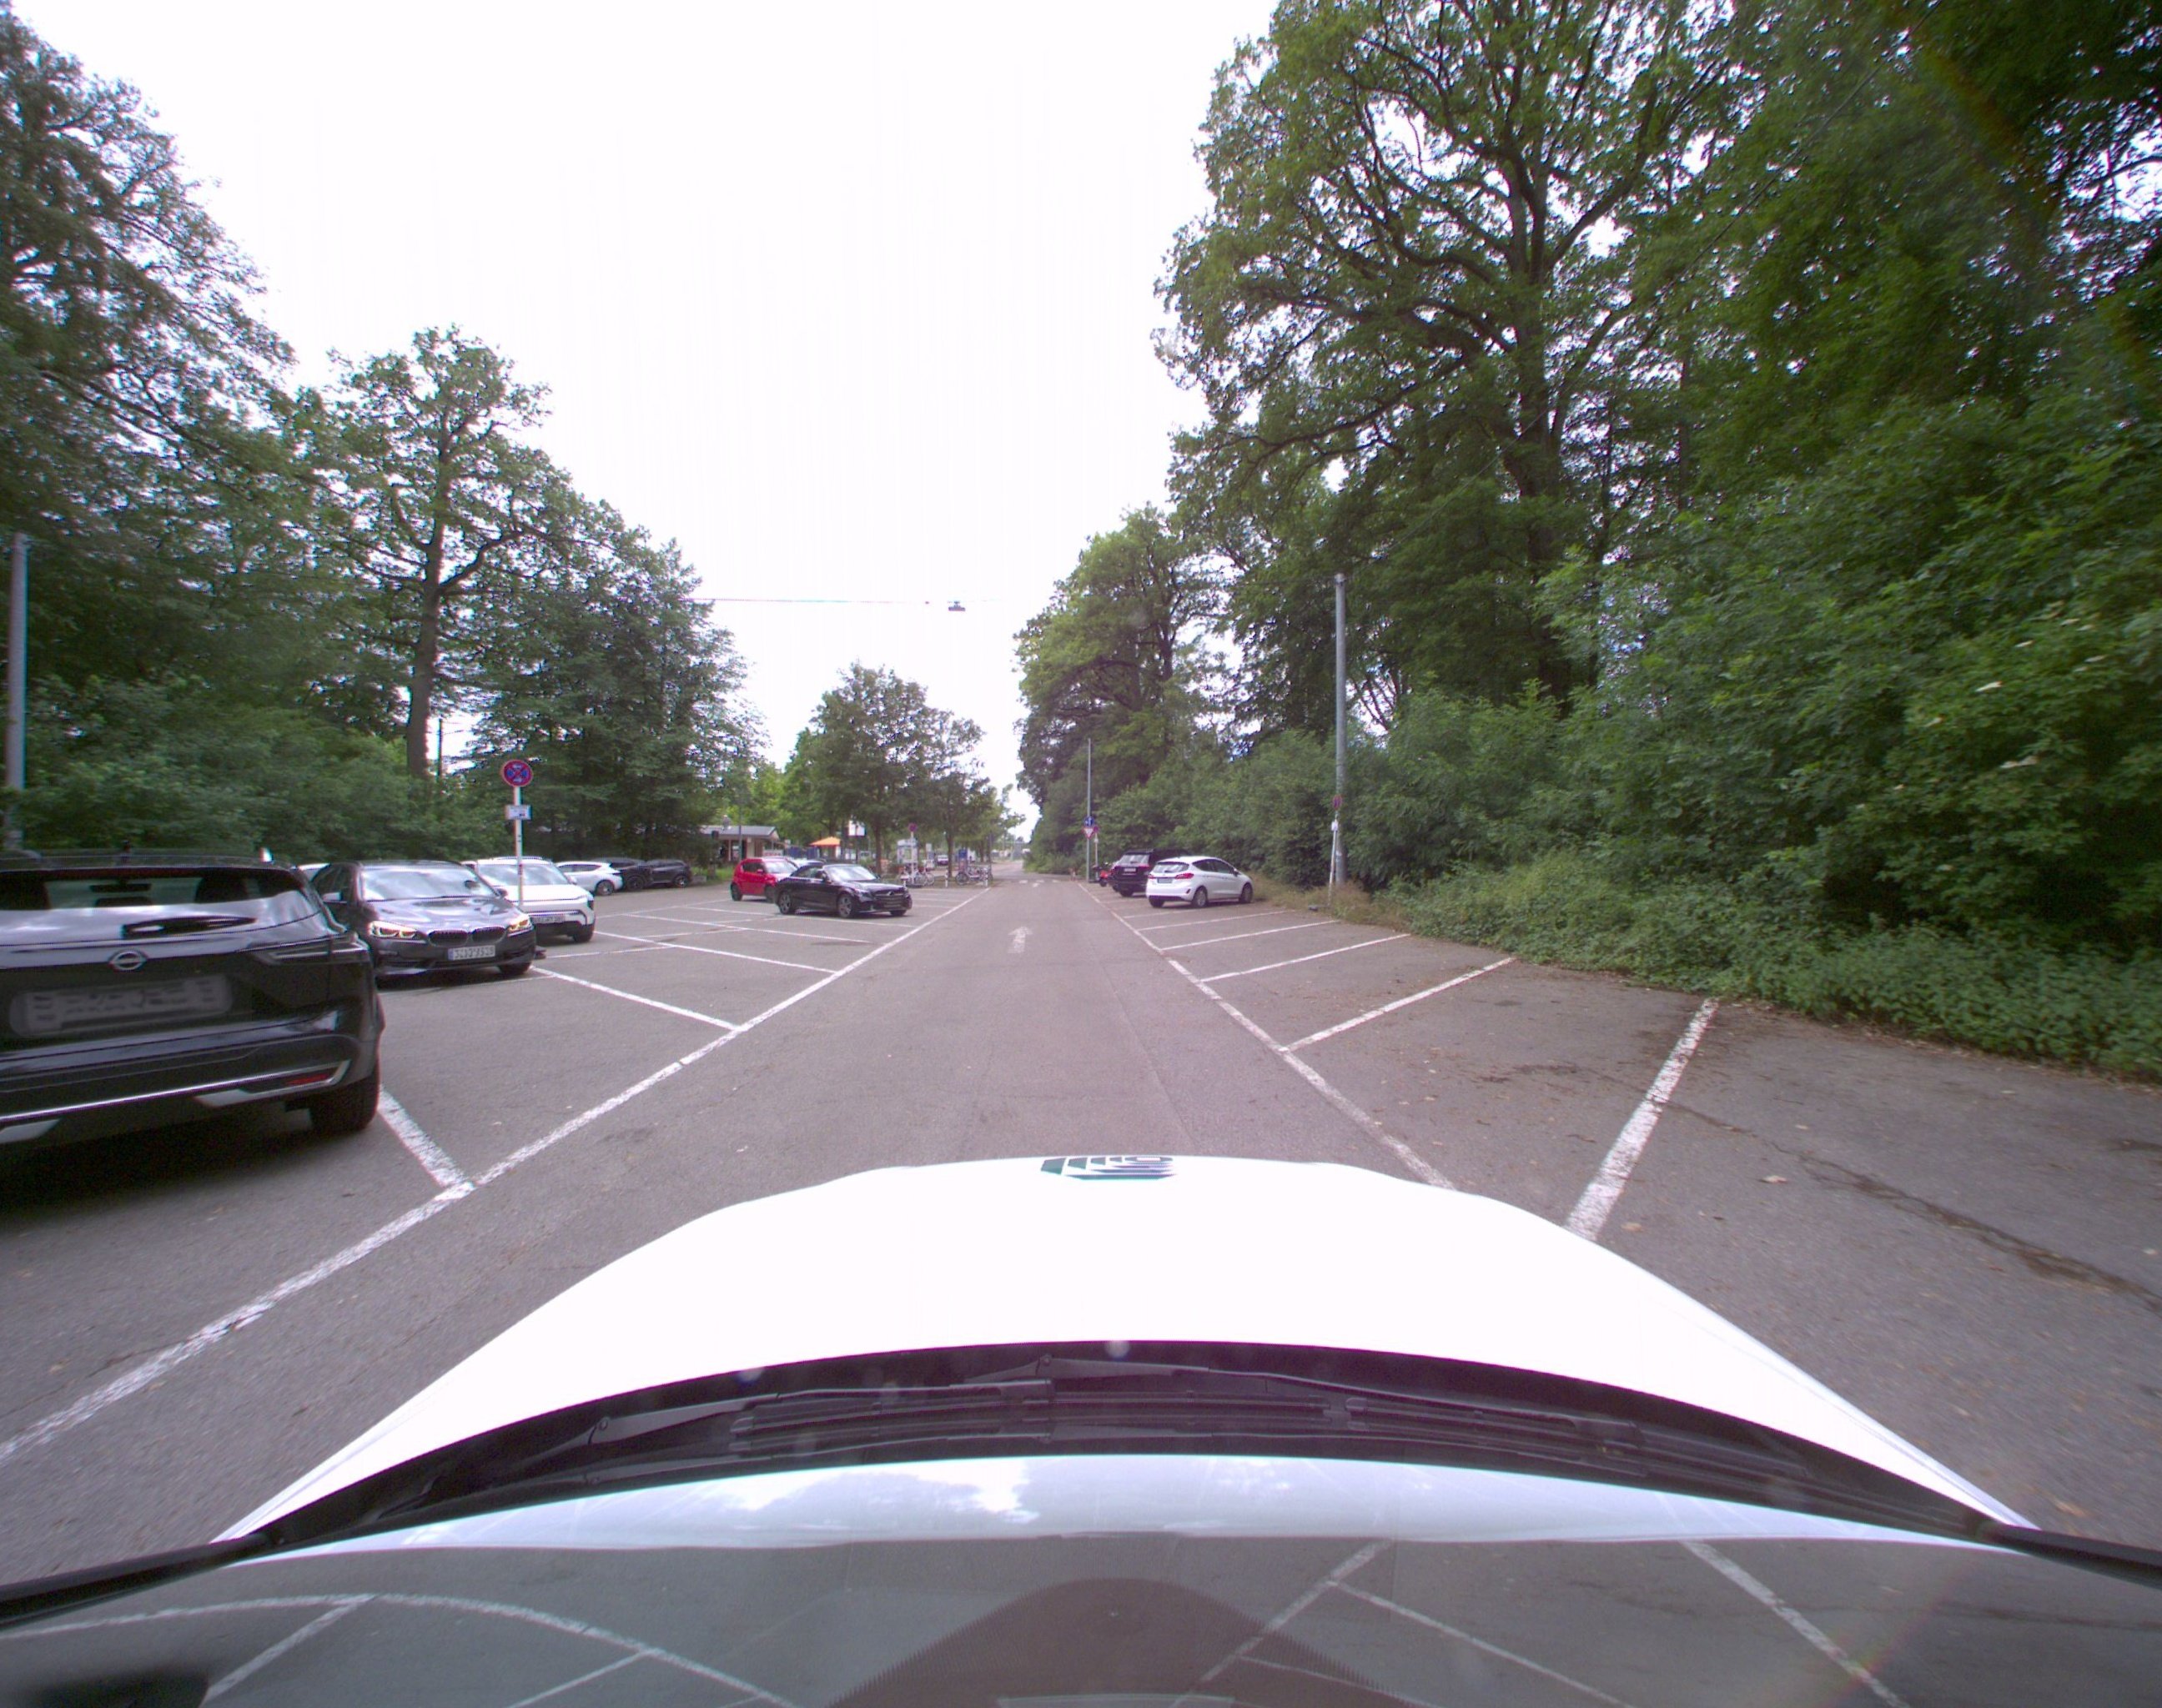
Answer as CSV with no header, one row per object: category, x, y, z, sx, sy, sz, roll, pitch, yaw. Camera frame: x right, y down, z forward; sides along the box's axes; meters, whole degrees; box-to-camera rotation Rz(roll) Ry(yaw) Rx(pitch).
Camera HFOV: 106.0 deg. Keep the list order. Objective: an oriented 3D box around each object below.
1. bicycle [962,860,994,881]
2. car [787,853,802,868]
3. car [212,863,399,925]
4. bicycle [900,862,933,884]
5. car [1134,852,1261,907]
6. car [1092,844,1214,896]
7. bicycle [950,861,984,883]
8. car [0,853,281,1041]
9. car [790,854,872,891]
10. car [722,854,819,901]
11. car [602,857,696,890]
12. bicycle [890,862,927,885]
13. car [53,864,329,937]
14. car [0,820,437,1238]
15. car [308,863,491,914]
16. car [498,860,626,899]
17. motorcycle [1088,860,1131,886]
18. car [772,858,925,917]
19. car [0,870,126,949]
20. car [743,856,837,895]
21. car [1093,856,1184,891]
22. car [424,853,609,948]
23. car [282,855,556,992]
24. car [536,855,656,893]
bicycle,-5.603,0.900,44.388,1.684,1.111,0.483,-1,0,4
car,-40.326,0.949,114.661,2.000,2.014,3.973,0,0,-20
car,-21.048,1.010,22.218,1.713,1.505,3.604,-1,0,44
bicycle,-8.690,1.014,43.054,1.674,1.111,0.482,-1,0,0
car,3.572,0.703,24.462,1.846,1.510,4.024,-1,0,42
car,2.768,0.554,30.411,2.085,1.767,4.737,-1,0,42
bicycle,-6.070,0.957,43.430,1.673,1.111,0.506,-1,0,2
car,-10.069,0.806,8.722,3.926,1.587,1.859,-1,-1,41
car,-11.284,0.791,36.631,4.049,1.523,1.841,0,0,44
car,-11.343,0.813,29.662,3.607,1.585,1.697,0,0,39
car,-21.667,0.941,40.922,1.678,1.492,3.816,-1,0,41
bicycle,-8.830,0.990,41.739,1.777,1.111,0.482,-1,0,0
car,-20.511,0.983,19.015,1.782,1.457,4.212,-1,0,42
car,-5.550,0.708,4.853,3.949,1.663,1.911,-1,0,40
car,-21.502,1.021,25.811,4.321,1.414,1.904,-1,0,-44
car,-21.257,0.981,33.437,1.846,1.438,4.144,-1,0,45
motorcycle,1.381,0.891,39.219,2.039,1.207,0.722,-1,0,-38
car,-6.375,0.833,22.099,4.261,1.442,1.881,0,0,39
car,-20.692,1.029,14.811,1.940,1.377,4.289,-1,0,40
car,-12.032,0.852,33.584,3.948,1.483,1.889,0,0,39
car,2.500,0.778,34.690,1.718,1.376,4.024,0,0,42
car,-10.890,0.790,15.612,4.136,1.596,1.858,-1,-1,39
car,-9.106,0.805,11.129,3.948,1.554,1.885,-1,-1,35
car,-21.744,0.854,36.614,1.933,1.580,4.230,-1,0,40
